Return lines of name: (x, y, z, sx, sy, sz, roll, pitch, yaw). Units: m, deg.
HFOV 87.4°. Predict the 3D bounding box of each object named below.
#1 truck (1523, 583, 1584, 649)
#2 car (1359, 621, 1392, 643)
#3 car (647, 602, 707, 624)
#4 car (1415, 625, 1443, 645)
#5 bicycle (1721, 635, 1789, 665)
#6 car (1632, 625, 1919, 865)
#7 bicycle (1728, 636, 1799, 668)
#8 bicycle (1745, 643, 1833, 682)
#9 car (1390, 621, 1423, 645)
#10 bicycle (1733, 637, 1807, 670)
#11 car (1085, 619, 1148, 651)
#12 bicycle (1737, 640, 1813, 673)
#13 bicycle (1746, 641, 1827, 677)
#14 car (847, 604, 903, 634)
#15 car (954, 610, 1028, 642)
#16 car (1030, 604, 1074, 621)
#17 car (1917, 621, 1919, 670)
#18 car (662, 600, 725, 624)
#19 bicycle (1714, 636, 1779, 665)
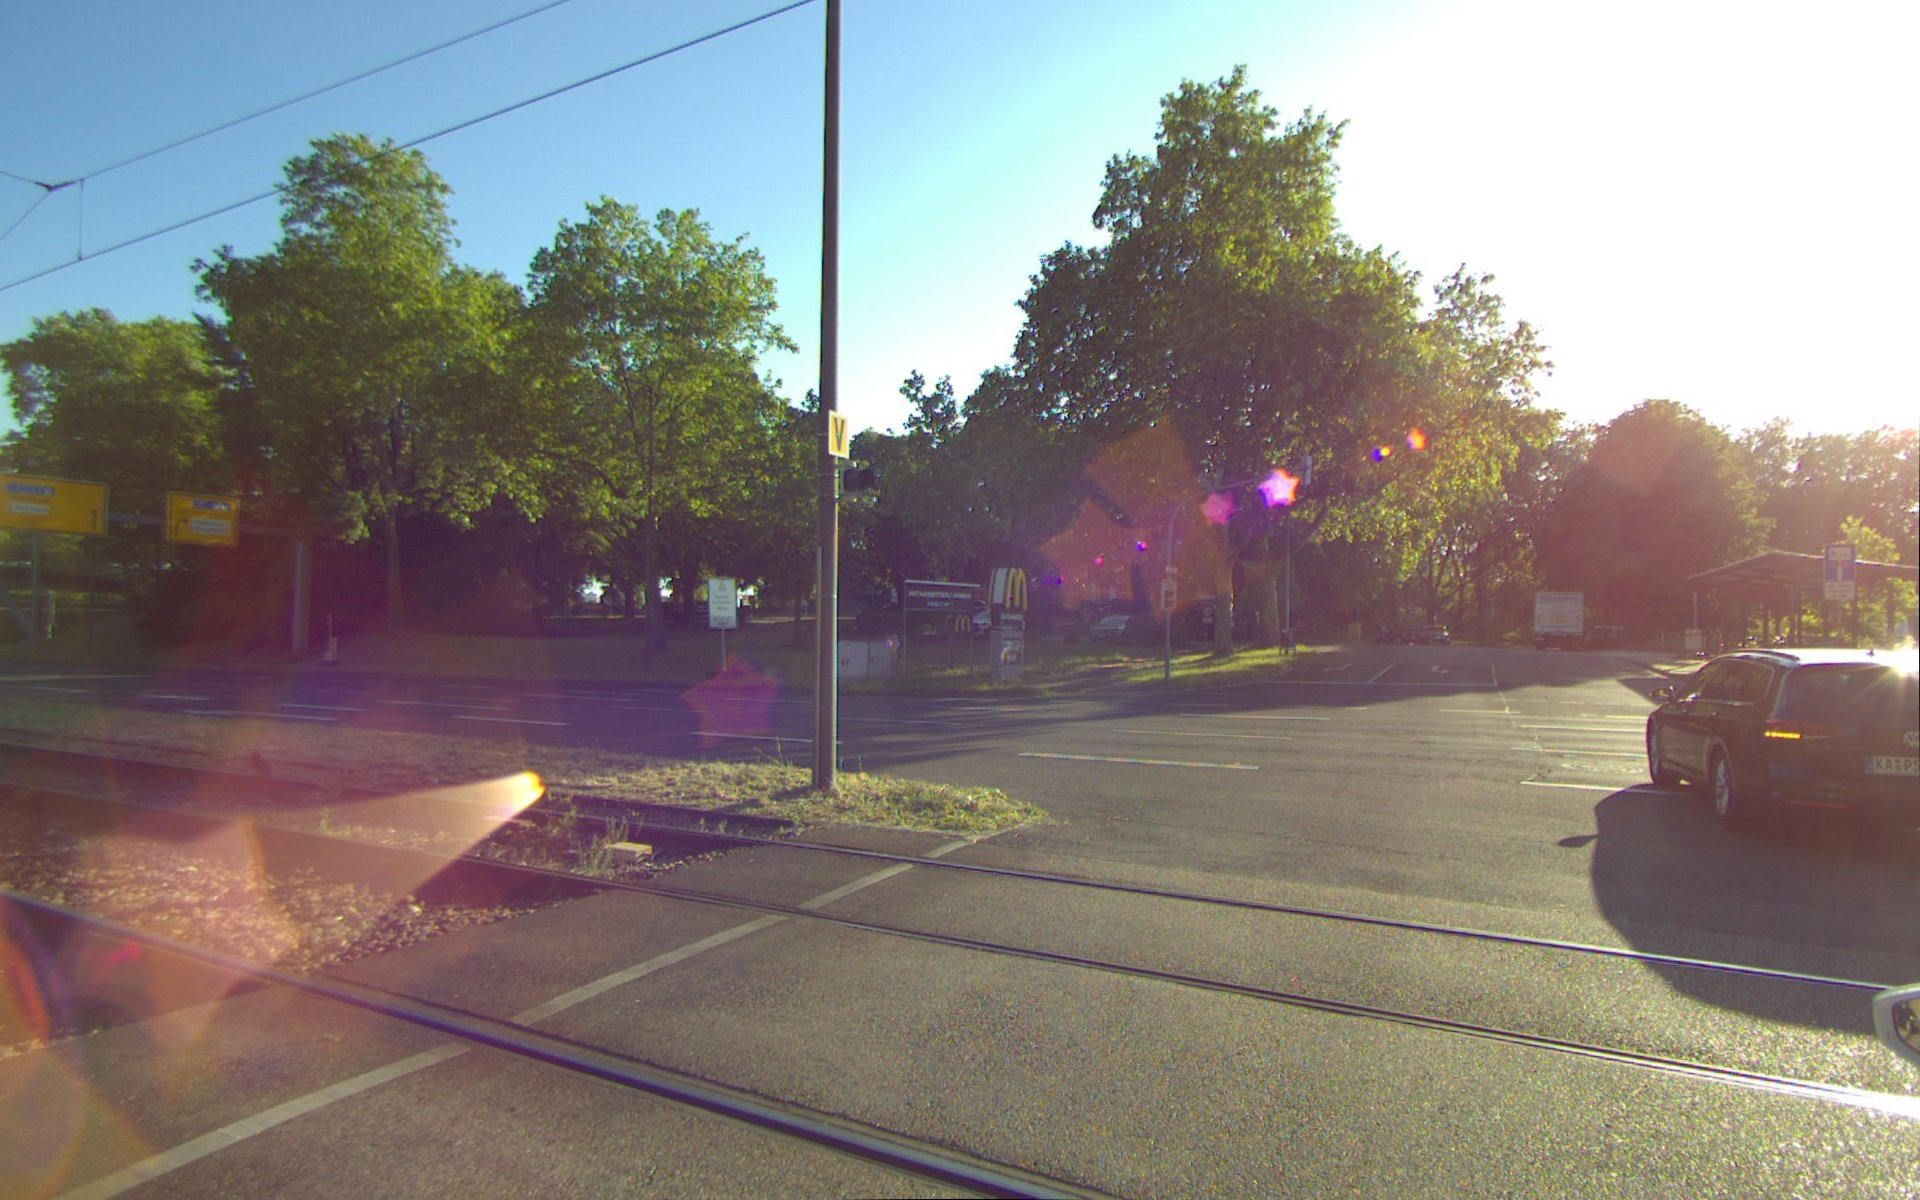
truck: (38.181, 1.012, 64.741, 3.138, 3.927, 11.076, 0, -1, 30)
car: (31.015, 2.359, 74.906, 1.818, 1.572, 3.993, 0, -1, 29)
car: (-21.051, 0.959, 74.848, 1.782, 1.572, 3.978, -1, -1, 43)
car: (38.280, 2.829, 81.952, 1.818, 1.572, 3.993, 0, -1, 29)
bicycle: (28.726, 1.798, 36.322, 1.861, 1.052, 0.543, -1, -1, 33)
car: (7.304, 1.032, 8.779, 1.796, 1.576, 4.254, 0, -1, 26)
bicycle: (28.123, 1.808, 35.183, 1.861, 1.052, 0.543, -1, -1, 33)
bicycle: (23.763, 1.789, 28.833, 1.859, 1.052, 0.543, -1, -1, 29)
car: (32.013, 2.344, 71.933, 1.818, 1.572, 3.993, 0, -1, 29)
bicycle: (27.258, 1.794, 33.817, 1.859, 1.052, 0.543, -1, -1, 29)
car: (8.390, 1.829, 53.519, 2.006, 1.595, 4.395, 0, -1, 28)
bicycle: (26.929, 1.850, 33.218, 1.859, 1.052, 0.543, -1, -1, 29)
bicycle: (25.633, 1.829, 31.195, 1.859, 1.052, 0.543, -1, -1, 29)
car: (-5.129, 1.151, 60.932, 1.792, 1.710, 4.225, 0, -1, 20)
car: (1.811, 1.459, 57.226, 1.966, 1.729, 4.886, 0, -1, 33)
car: (8.420, 1.133, 91.560, 3.919, 1.572, 1.809, 0, -1, 9)
car: (34.357, 1.529, 32.653, 4.240, 1.670, 2.118, 0, -1, 27)
car: (-18.156, 0.838, 68.629, 1.777, 1.572, 3.989, -1, -1, 33)
bicycle: (29.421, 1.892, 37.615, 1.861, 1.052, 0.543, -1, -1, 33)
